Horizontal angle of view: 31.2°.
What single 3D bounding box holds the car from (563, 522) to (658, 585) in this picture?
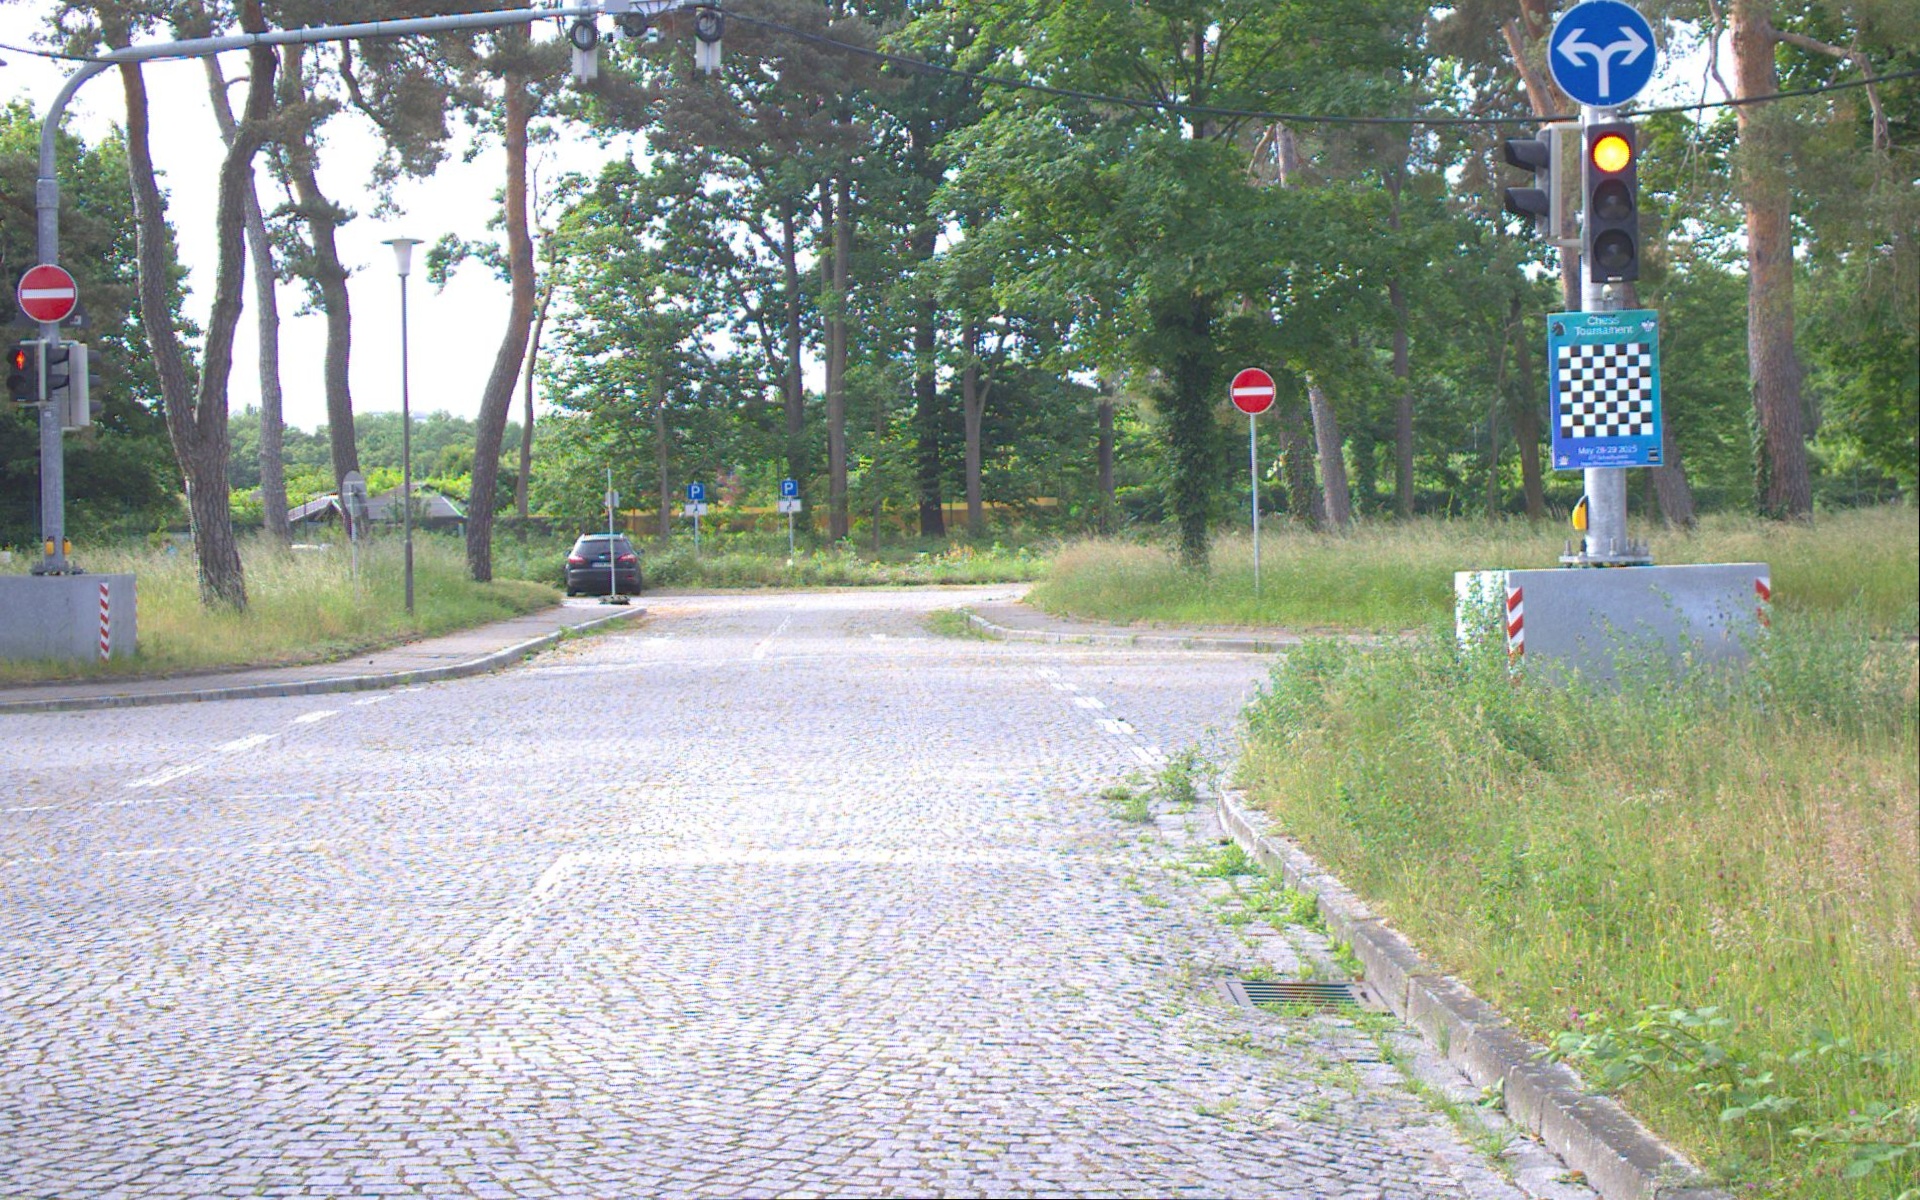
[{"bbox_3d":[-8.745,-1.177,86.326,1.993,1.503,4.000,1,1,-1],"label":"car"}]
